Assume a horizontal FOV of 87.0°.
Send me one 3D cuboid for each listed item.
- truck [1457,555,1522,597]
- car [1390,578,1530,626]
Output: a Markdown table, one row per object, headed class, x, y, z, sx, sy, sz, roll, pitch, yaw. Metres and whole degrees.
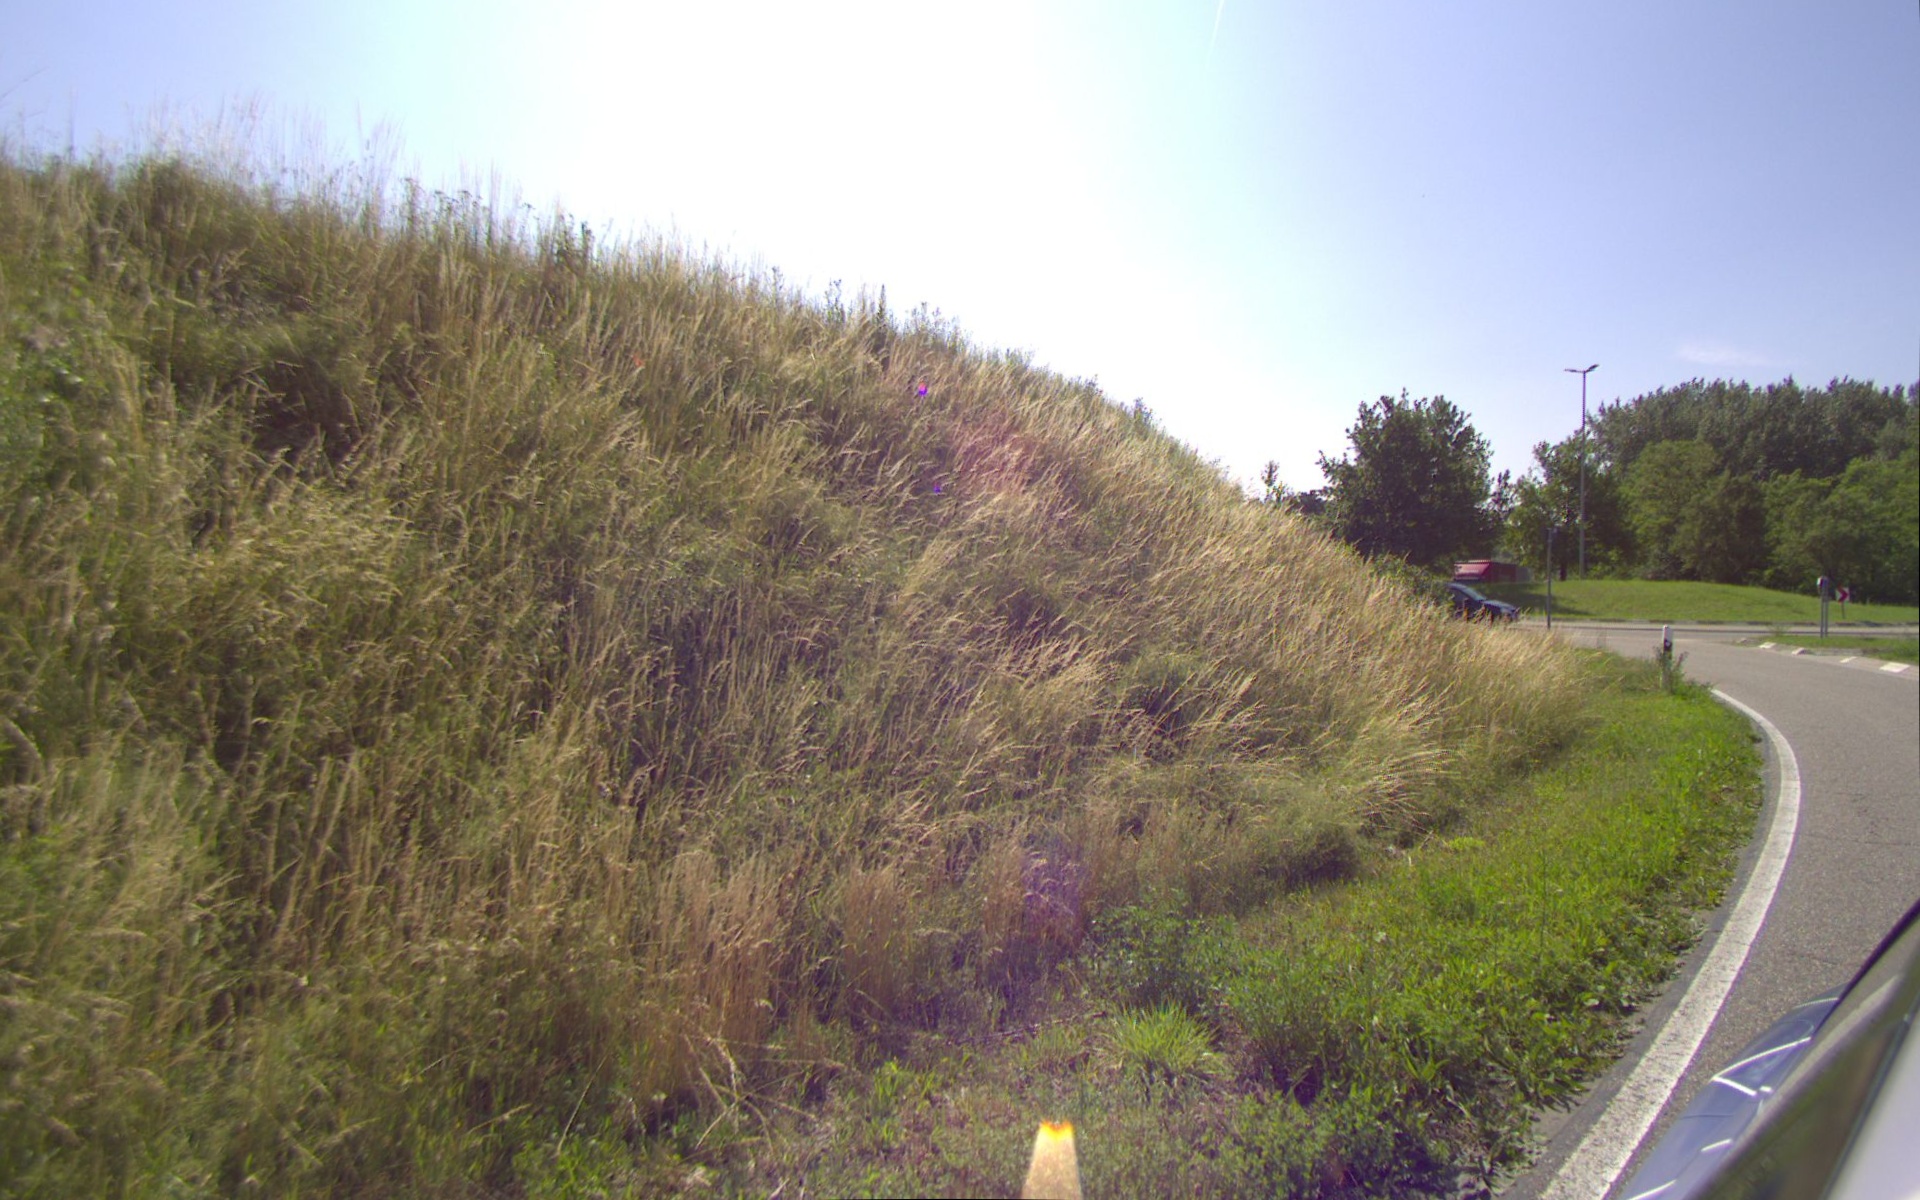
| class | x | y | z | sx | sy | sz | roll | pitch | yaw |
| --- | --- | --- | --- | --- | --- | --- | --- | --- | --- |
| truck | 38.509 | -1.698 | 73.457 | 2.469 | 2.867 | 8.928 | 0 | 1 | 39 |
| car | 18.318 | 0.019 | 37.218 | 4.336 | 1.676 | 1.682 | 1 | 1 | 43 |
